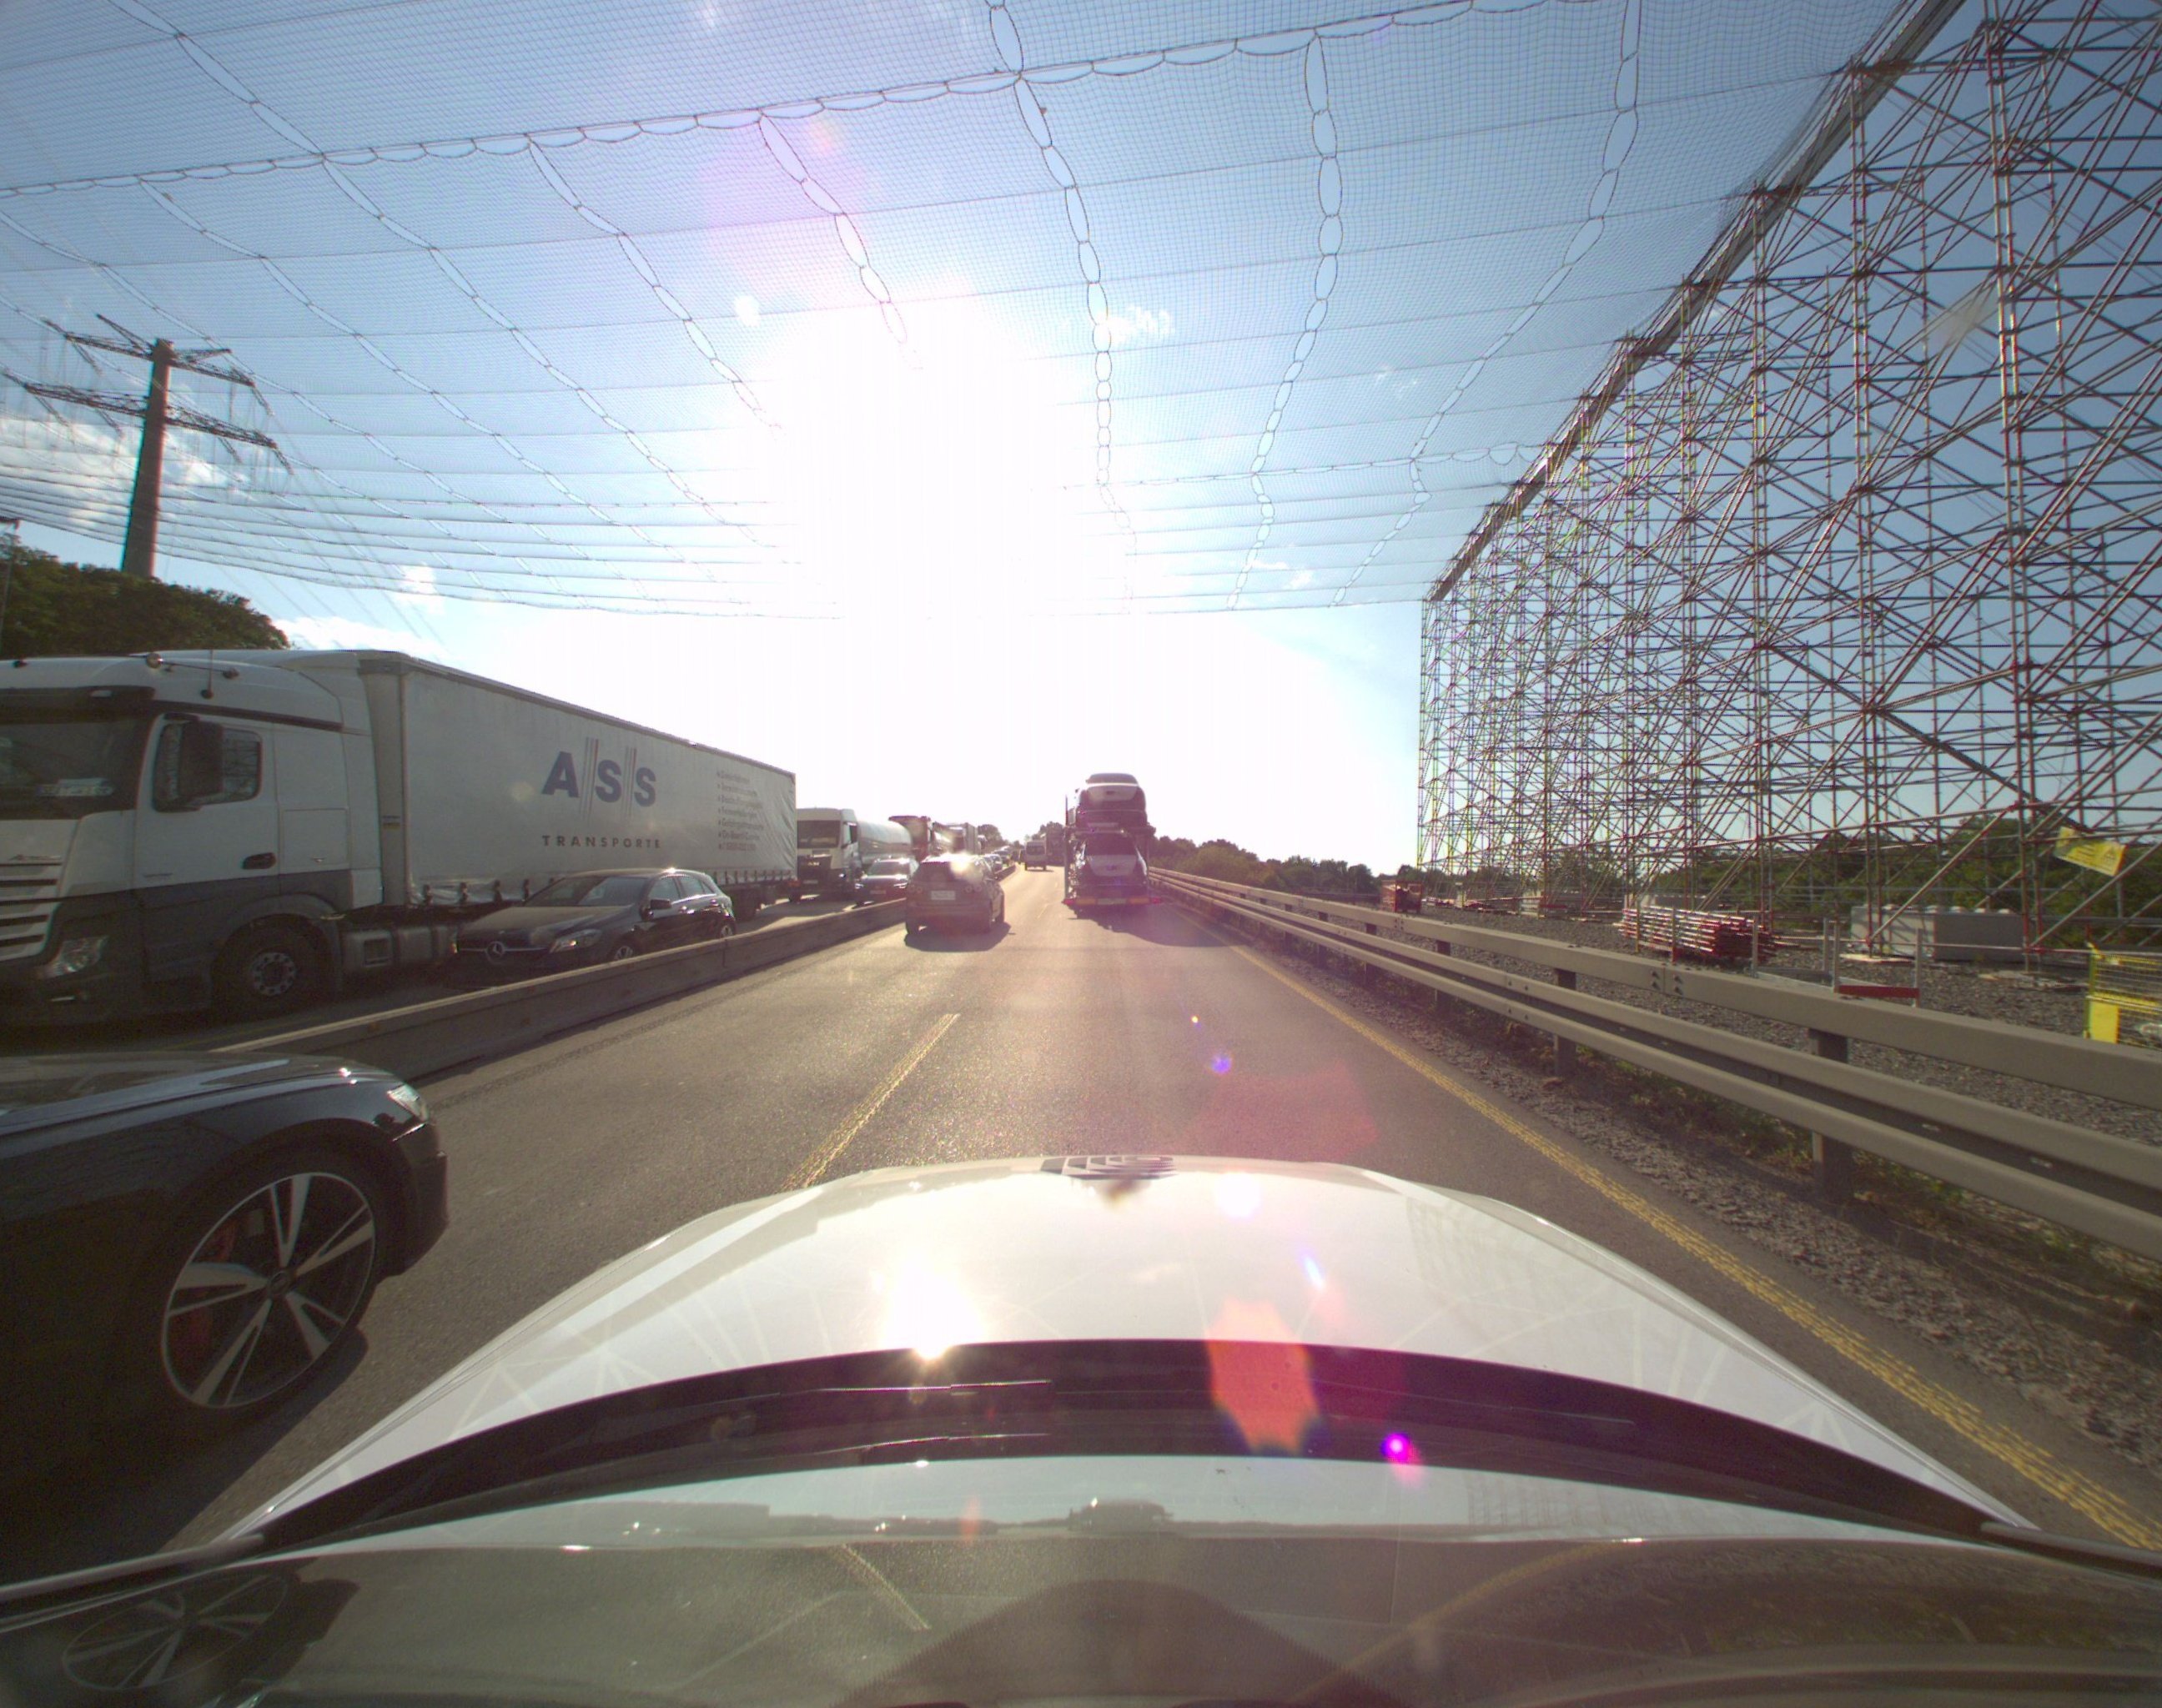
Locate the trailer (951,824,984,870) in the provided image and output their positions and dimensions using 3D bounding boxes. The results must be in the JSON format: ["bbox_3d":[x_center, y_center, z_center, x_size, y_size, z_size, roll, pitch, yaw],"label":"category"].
[{"bbox_3d":[-10.673,-0.605,77.293,2.438,4.189,8.531,-1,0,-4],"label":"trailer"}]

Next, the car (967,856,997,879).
[{"bbox_3d":[-6.421,0.851,53.208,1.624,1.426,4.382,-1,0,-3],"label":"car"}]

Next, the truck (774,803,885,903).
[{"bbox_3d":[-9.199,-0.038,30.440,2.406,3.370,5.615,-1,0,-1],"label":"truck"}]

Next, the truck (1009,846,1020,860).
[{"bbox_3d":[-15.254,-0.128,187.190,2.586,3.170,6.665,-1,0,-5],"label":"truck"}]

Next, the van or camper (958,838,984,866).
[{"bbox_3d":[-11.930,-0.147,88.983,2.404,2.891,7.605,-1,0,-5],"label":"van or camper"}]

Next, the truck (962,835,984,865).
[{"bbox_3d":[-13.895,-0.467,105.174,2.597,3.754,6.504,0,0,-6],"label":"truck"}]

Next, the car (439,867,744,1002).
[{"bbox_3d":[-6.001,0.885,10.588,1.602,1.376,3.900,-1,0,0],"label":"car"}]

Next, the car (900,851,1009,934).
[{"bbox_3d":[-2.640,0.766,17.849,1.686,1.596,4.000,-1,0,1],"label":"car"}]

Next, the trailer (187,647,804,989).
[{"bbox_3d":[-9.190,-0.394,16.515,2.420,3.963,14.094,-1,0,0],"label":"trailer"}]

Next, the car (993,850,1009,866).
[{"bbox_3d":[-9.560,0.479,97.519,1.813,1.925,4.829,-1,0,-4],"label":"car"}]

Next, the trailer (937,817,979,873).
[{"bbox_3d":[-10.097,-0.653,67.811,2.470,4.328,10.498,-1,0,-3],"label":"trailer"}]

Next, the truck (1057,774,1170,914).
[{"bbox_3d":[0.808,-0.229,25.705,2.790,3.497,10.602,-1,0,0],"label":"truck"}]

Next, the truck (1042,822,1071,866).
[{"bbox_3d":[-3.230,-1.183,103.772,3.280,5.236,9.919,-1,0,-4],"label":"truck"}]

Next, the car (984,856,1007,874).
[{"bbox_3d":[-7.003,0.855,66.974,1.623,1.426,4.653,-1,0,-3],"label":"car"}]

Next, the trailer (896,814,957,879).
[{"bbox_3d":[-9.865,-0.412,53.223,2.302,3.790,12.039,-1,0,-3],"label":"trailer"}]

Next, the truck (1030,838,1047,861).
[{"bbox_3d":[-7.034,-0.719,134.557,2.525,3.648,8.894,-1,0,-3],"label":"truck"}]

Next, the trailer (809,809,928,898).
[{"bbox_3d":[-9.228,0.009,37.015,2.300,3.362,12.048,-1,0,0],"label":"trailer"}]

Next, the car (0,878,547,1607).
[{"bbox_3d":[-3.139,0.807,0.755,1.928,1.398,4.962,0,0,1],"label":"car"}]

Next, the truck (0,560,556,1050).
[{"bbox_3d":[-9.193,-0.390,9.526,2.466,4.046,5.616,-1,0,0],"label":"truck"}]

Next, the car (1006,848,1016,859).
[{"bbox_3d":[-13.148,-0.034,152.700,1.628,2.014,3.991,0,0,-7],"label":"car"}]

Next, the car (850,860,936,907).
[{"bbox_3d":[-6.149,0.923,27.129,1.787,1.398,4.245,-1,0,1],"label":"car"}]

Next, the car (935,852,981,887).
[{"bbox_3d":[-5.850,0.706,39.086,1.746,1.587,3.939,-1,0,-3],"label":"car"}]

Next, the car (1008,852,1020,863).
[{"bbox_3d":[-11.184,0.548,135.884,1.822,1.772,3.996,-1,0,-3],"label":"car"}]

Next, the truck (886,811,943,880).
[{"bbox_3d":[-9.630,-0.443,47.594,2.427,3.784,5.611,-1,0,-3],"label":"truck"}]

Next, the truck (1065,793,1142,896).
[{"bbox_3d":[0.766,-0.322,35.129,2.829,3.792,9.982,-1,0,-1],"label":"truck"}]

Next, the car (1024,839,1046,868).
[{"bbox_3d":[-4.140,-0.017,74.565,1.916,2.492,5.403,-1,0,-3],"label":"car"}]
